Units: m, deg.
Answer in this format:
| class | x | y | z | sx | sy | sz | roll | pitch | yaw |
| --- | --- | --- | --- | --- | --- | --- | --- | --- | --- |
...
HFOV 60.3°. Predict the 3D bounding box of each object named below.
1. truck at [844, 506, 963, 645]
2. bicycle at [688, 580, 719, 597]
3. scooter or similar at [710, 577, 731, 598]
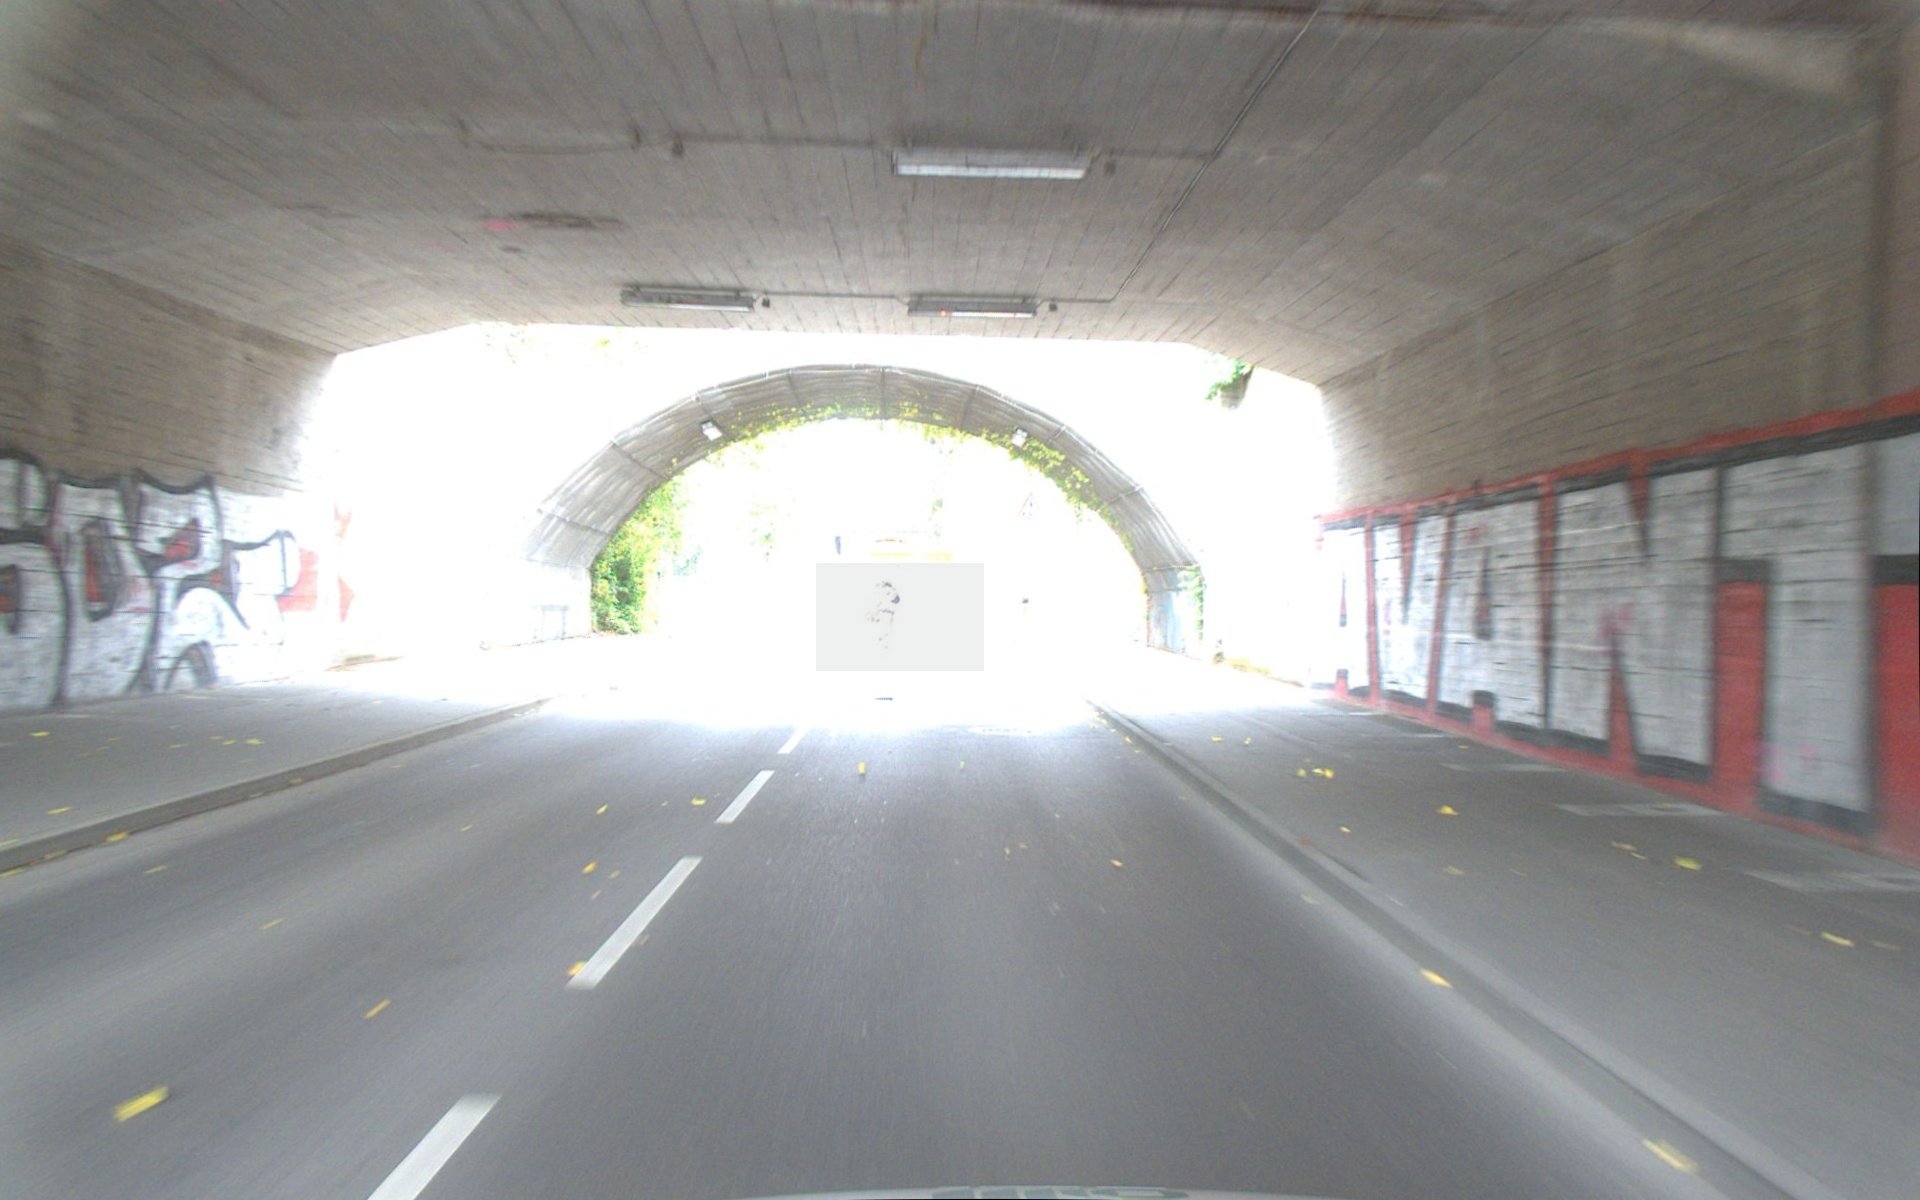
| class | x | y | z | sx | sy | sz | roll | pitch | yaw |
| --- | --- | --- | --- | --- | --- | --- | --- | --- | --- |
| truck | -1.736 | -0.747 | 46.493 | 2.712 | 3.544 | 8.119 | 0 | 2 | -6 |
| bicycle | -16.681 | -0.756 | 107.507 | 1.954 | 0.880 | 0.503 | 7 | -3 | -41 |
| scooter or similar | -15.450 | -0.799 | 106.645 | 1.179 | 1.227 | 0.462 | 6 | -3 | -38 |
